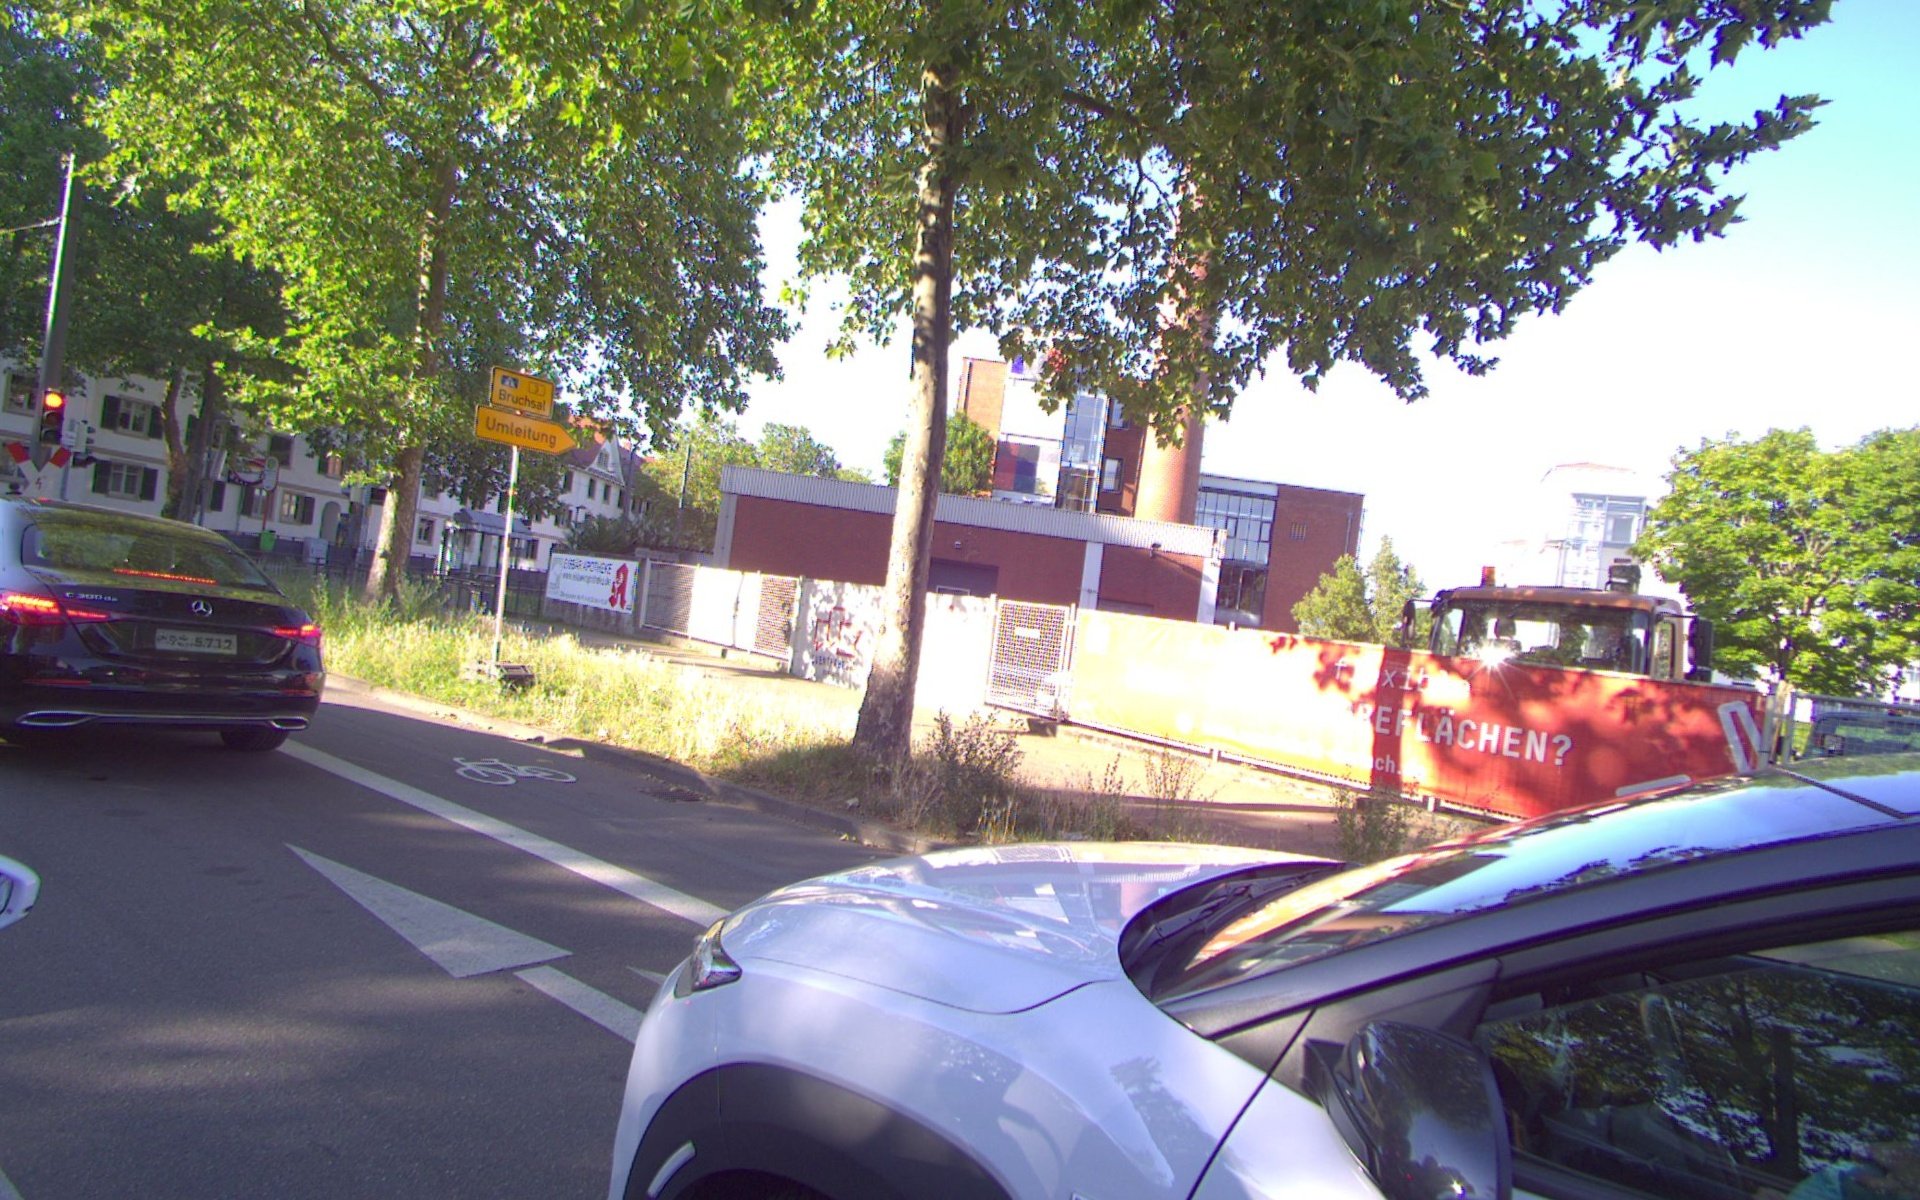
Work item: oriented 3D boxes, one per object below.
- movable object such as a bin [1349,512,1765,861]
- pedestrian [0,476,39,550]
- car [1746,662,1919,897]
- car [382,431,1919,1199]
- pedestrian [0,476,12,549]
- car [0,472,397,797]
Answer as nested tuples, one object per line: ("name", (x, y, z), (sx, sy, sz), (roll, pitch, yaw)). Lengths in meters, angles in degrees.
("movable object such as a bin", (7.644, 1.033, 12.410), (3.172, 3.084, 6.266), (6, -2, 41))
("pedestrian", (-26.522, -2.434, 28.133), (0.825, 1.940, 0.707), (7, -1, 28))
("car", (9.574, 1.823, 10.153), (2.016, 1.849, 4.583), (6, -3, 44))
("car", (1.210, 0.871, 1.413), (3.901, 1.616, 1.893), (9, -1, 33))
("pedestrian", (-26.119, -2.398, 26.913), (0.825, 1.940, 0.707), (7, -1, 28))
("car", (-5.962, 0.013, 6.725), (4.308, 1.508, 1.893), (9, -1, 32))
